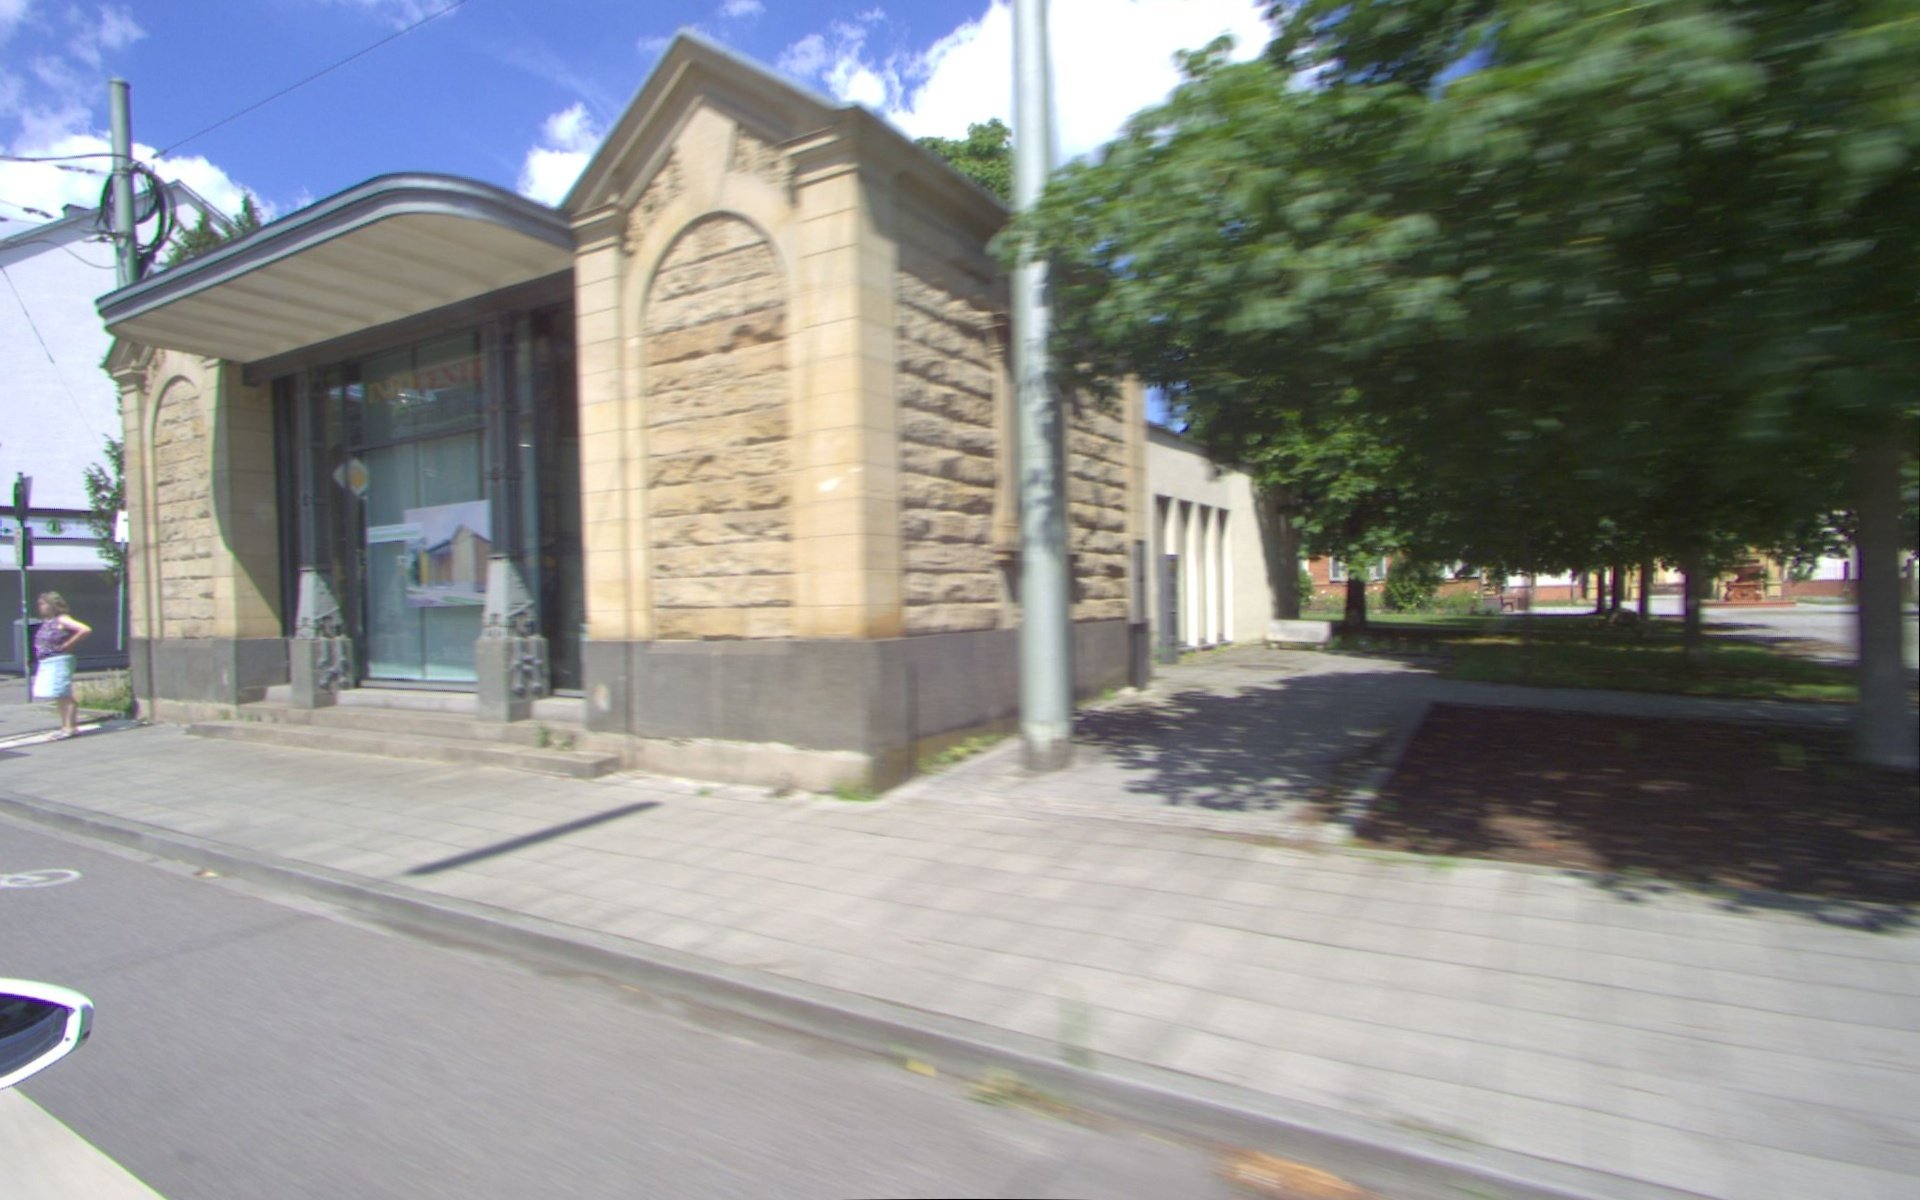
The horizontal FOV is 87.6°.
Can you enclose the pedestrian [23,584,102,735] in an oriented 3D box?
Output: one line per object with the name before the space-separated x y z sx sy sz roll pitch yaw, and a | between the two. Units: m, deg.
pedestrian | -10.499 0.671 11.735 0.557 1.688 0.677 -2 2 -35
